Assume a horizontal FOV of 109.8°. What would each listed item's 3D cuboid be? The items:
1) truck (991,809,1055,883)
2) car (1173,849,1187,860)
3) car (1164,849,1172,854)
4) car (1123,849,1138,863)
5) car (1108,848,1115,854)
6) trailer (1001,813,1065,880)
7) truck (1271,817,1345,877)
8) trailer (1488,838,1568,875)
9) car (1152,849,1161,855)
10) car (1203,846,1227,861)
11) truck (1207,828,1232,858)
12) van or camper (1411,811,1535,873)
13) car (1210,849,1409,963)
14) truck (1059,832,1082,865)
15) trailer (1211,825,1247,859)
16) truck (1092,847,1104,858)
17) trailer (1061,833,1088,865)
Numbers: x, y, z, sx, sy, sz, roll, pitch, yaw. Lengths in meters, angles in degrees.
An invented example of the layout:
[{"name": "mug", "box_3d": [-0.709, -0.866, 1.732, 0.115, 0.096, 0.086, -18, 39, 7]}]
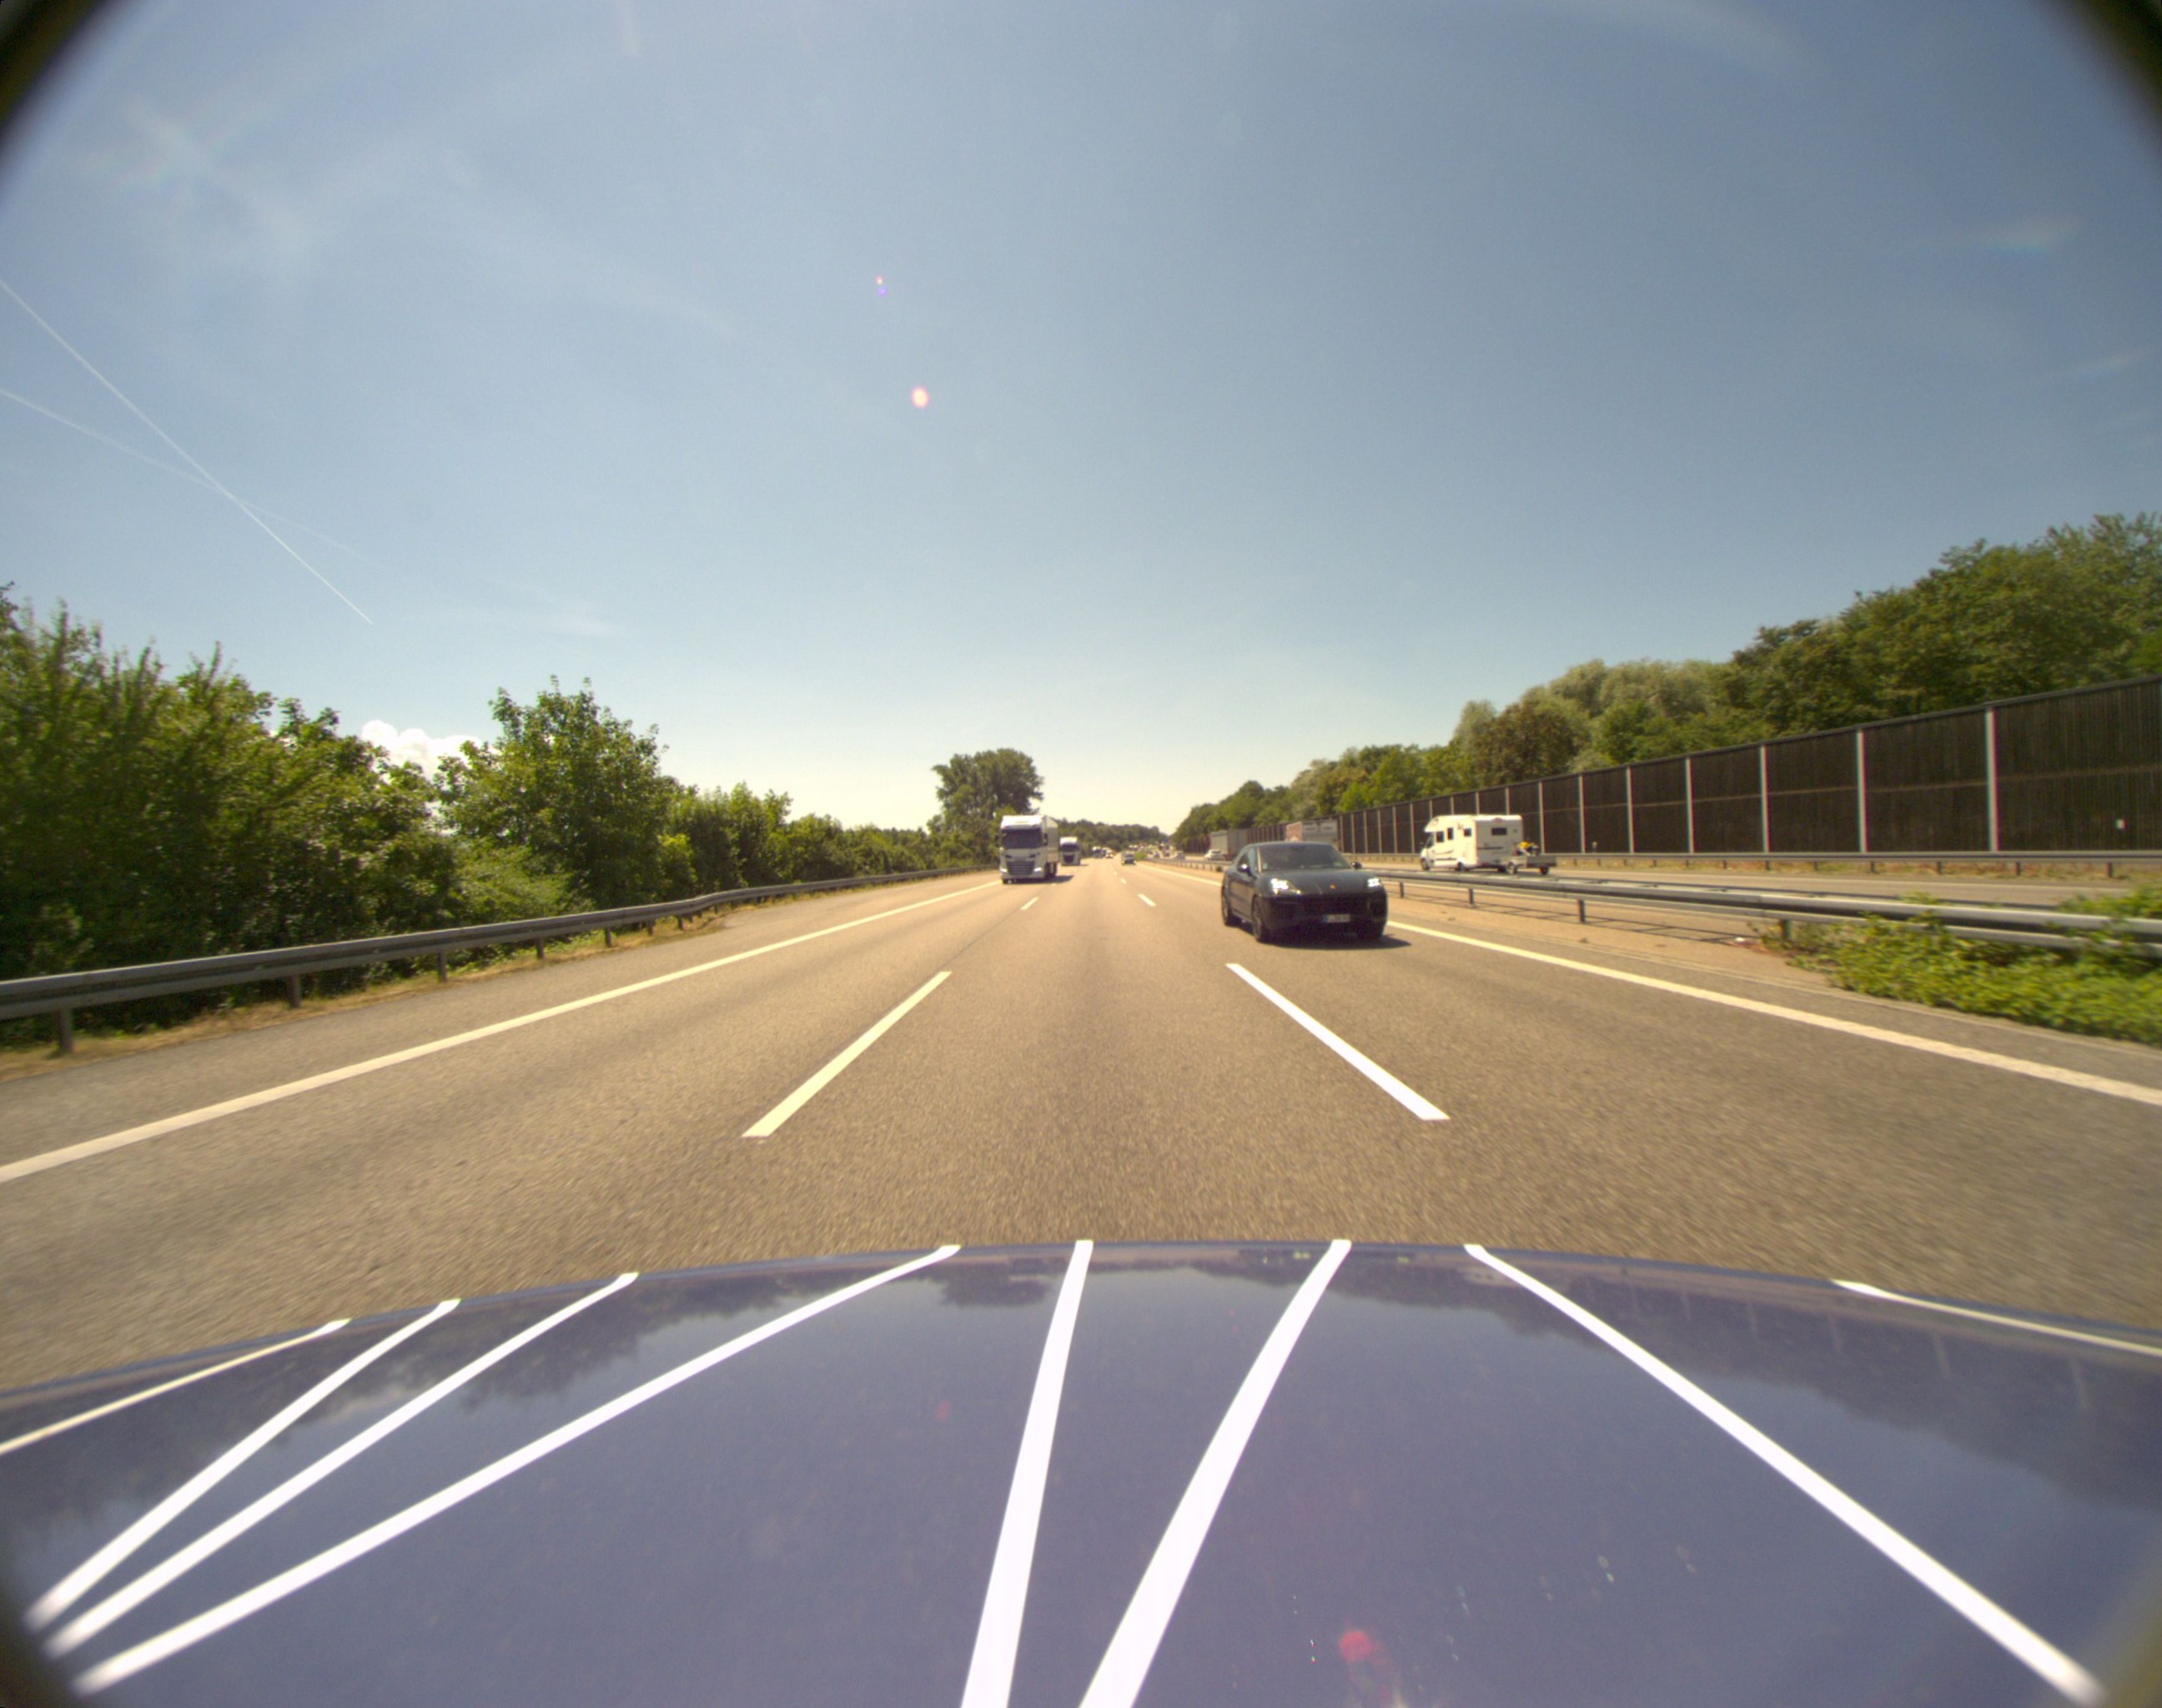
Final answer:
[{"name": "truck", "box_3d": [-3.368, -0.457, 45.873, 2.966, 4.082, 6.207, -2, 0, 2]}, {"name": "car", "box_3d": [15.661, 0.077, 120.516, 1.809, 1.535, 4.246, -2, 0, 2]}, {"name": "car", "box_3d": [25.539, -0.765, 222.991, 2.129, 1.513, 5.983, -2, 0, 3]}, {"name": "car", "box_3d": [6.614, 0.220, 101.316, 1.908, 1.717, 4.377, -2, 0, 4]}, {"name": "car", "box_3d": [9.659, -1.031, 241.700, 1.908, 1.717, 4.377, -2, 0, 4]}, {"name": "trailer", "box_3d": [-3.093, -0.493, 53.013, 2.966, 4.082, 12.533, -2, 0, 2]}, {"name": "truck", "box_3d": [13.815, -0.418, 46.760, 2.416, 3.333, 6.919, -2, 0, 0]}, {"name": "trailer", "box_3d": [19.863, 0.088, 33.871, 1.731, 1.569, 3.092, 0, 0, 0]}, {"name": "car", "box_3d": [19.604, -0.470, 196.964, 1.903, 1.512, 4.419, -2, 0, 1]}, {"name": "car", "box_3d": [14.994, -0.047, 85.154, 1.924, 1.537, 4.582, -2, 0, 2]}, {"name": "truck", "box_3d": [19.844, -1.573, 108.824, 2.364, 4.052, 7.153, -2, 0, 2]}, {"name": "van or camper", "box_3d": [19.873, -0.597, 39.117, 2.564, 2.897, 7.374, 0, 0, 0]}, {"name": "car", "box_3d": [3.822, 0.745, 13.978, 2.048, 1.615, 5.772, -2, 0, 2]}, {"name": "truck", "box_3d": [-1.434, -0.770, 107.854, 2.541, 4.446, 5.574, -2, 1, 5]}, {"name": "trailer", "box_3d": [19.627, -1.532, 101.728, 2.347, 4.052, 14.210, -2, 0, 2]}, {"name": "truck", "box_3d": [5.871, -0.551, 260.249, 3.073, 3.617, 12.405, -2, 0, 6]}, {"name": "trailer", "box_3d": [-0.888, -0.833, 114.643, 2.541, 4.446, 14.164, -2, 0, 5]}]
